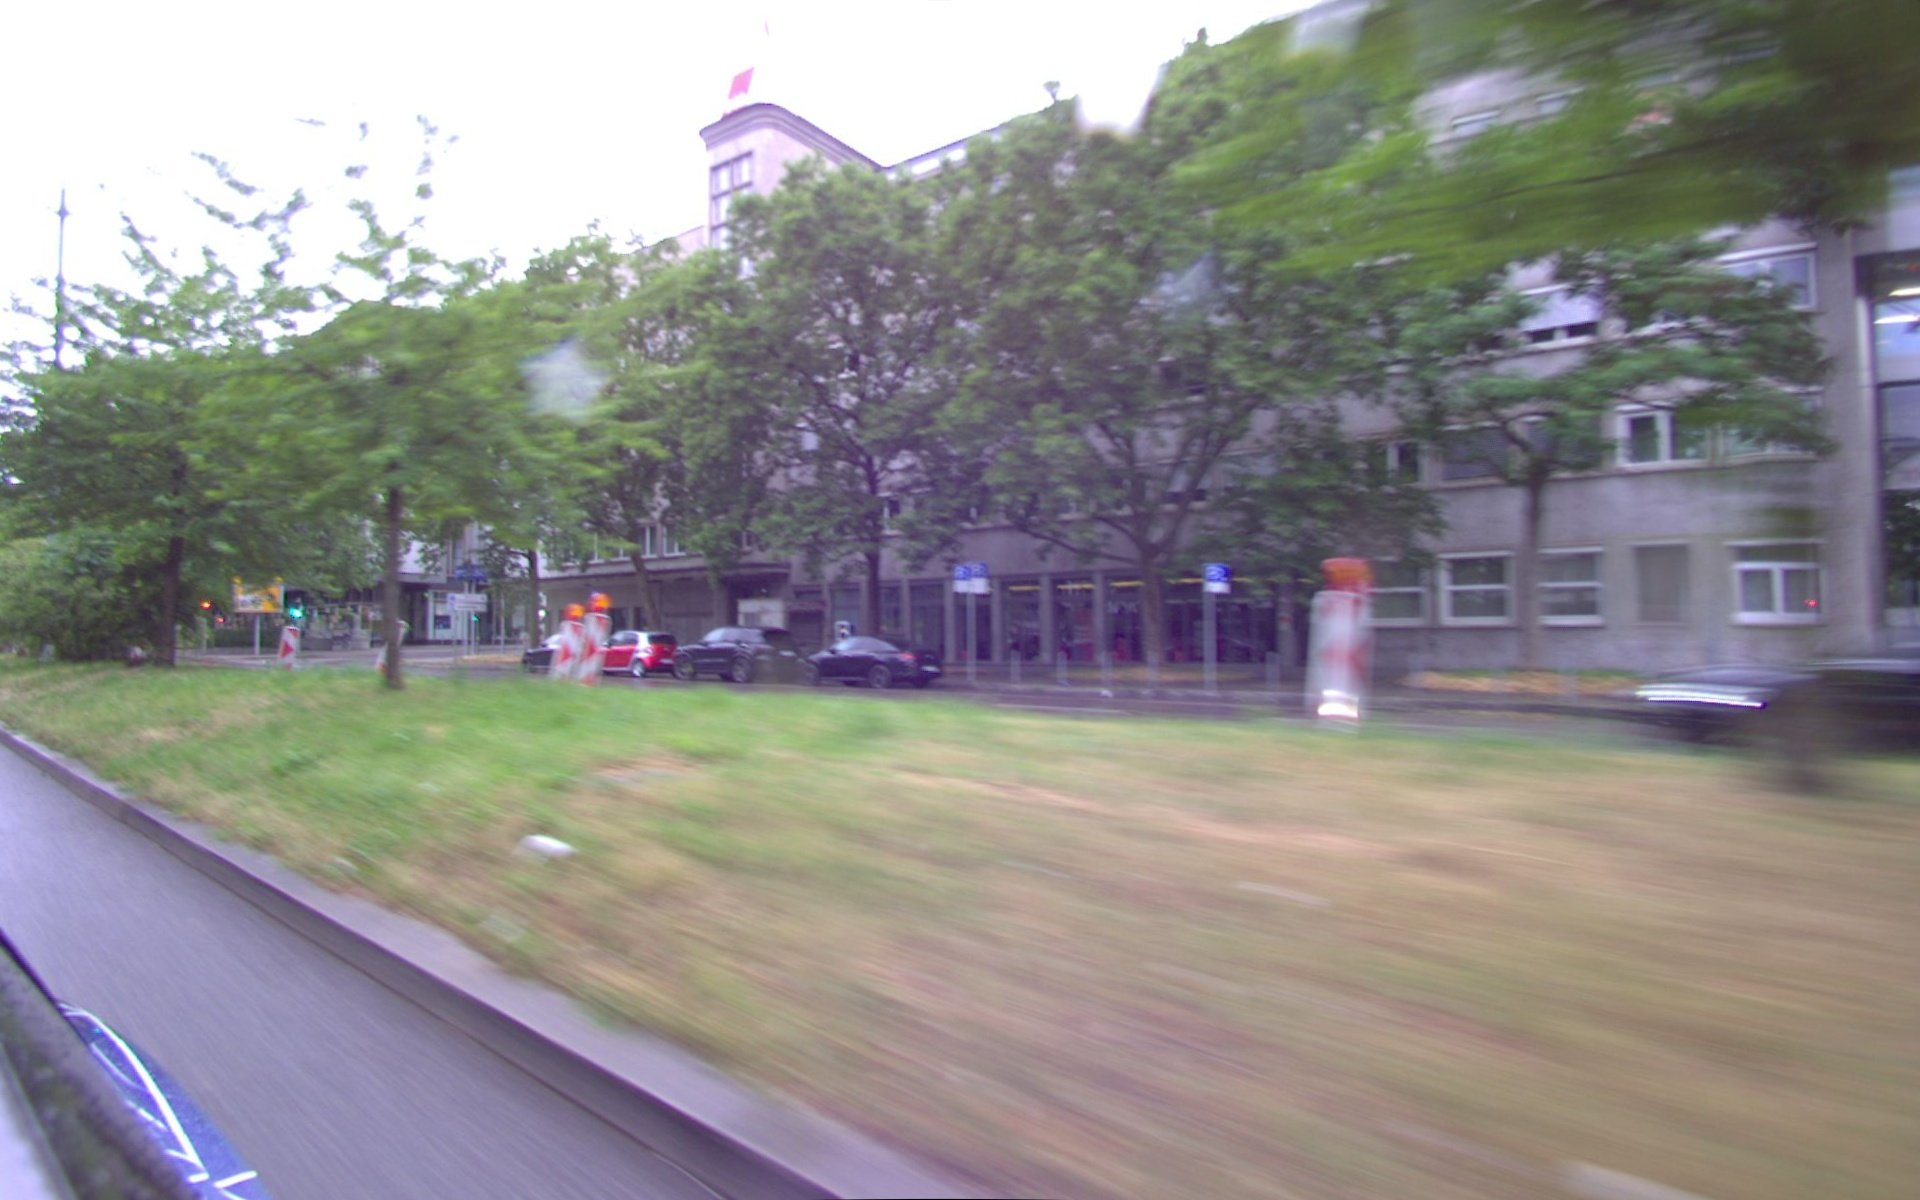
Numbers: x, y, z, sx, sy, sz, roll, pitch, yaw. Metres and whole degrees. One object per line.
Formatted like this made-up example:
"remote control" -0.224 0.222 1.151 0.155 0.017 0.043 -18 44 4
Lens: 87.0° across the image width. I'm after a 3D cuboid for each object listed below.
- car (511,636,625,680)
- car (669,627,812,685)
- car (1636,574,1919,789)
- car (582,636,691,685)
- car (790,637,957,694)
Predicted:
"car" -14.200 2.048 36.579 4.570 1.498 1.768 -2 -3 39
"car" -6.696 1.662 30.682 4.462 1.634 1.843 -2 -3 39
"car" 7.710 0.587 7.241 4.715 1.478 1.774 -1 -4 36
"car" -10.765 1.969 33.588 3.688 1.514 1.669 -2 -3 39
"car" -2.425 1.735 27.691 4.560 1.440 1.843 -2 -3 39
